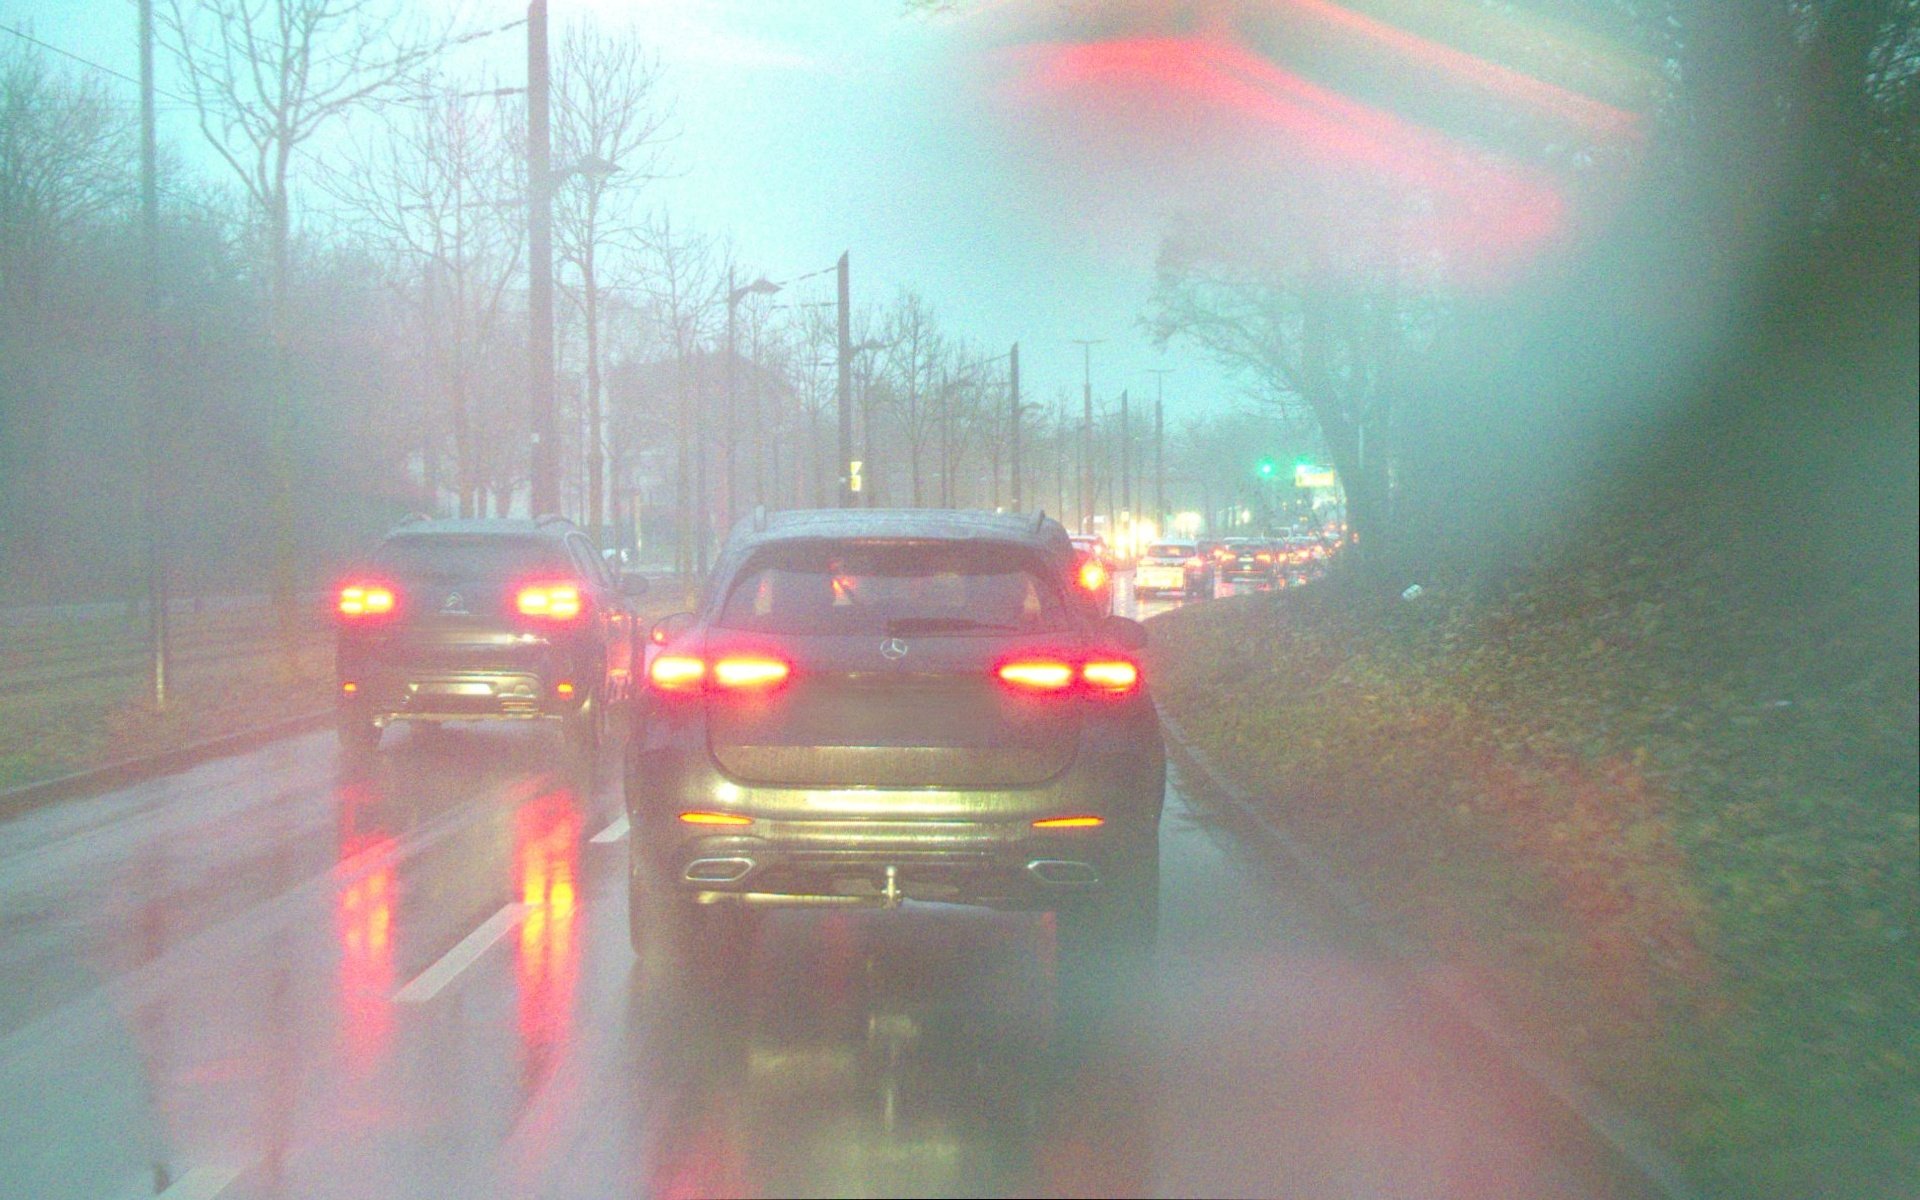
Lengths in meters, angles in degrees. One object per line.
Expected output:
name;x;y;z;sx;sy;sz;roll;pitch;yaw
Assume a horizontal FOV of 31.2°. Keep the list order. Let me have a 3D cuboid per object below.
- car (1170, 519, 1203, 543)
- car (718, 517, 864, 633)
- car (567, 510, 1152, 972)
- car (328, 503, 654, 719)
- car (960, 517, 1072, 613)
car;15.985;-4.885;242.314;1.994;1.660;3.835;-1;1;8
car;-2.426;-0.397;50.253;1.880;1.588;4.000;-1;2;1
car;-0.397;0.434;13.771;1.998;1.578;4.001;0;2;-1
car;-3.406;0.020;25.675;1.880;1.454;4.000;-1;2;0
car;0.974;-0.610;58.068;1.709;1.552;3.996;0;1;3
